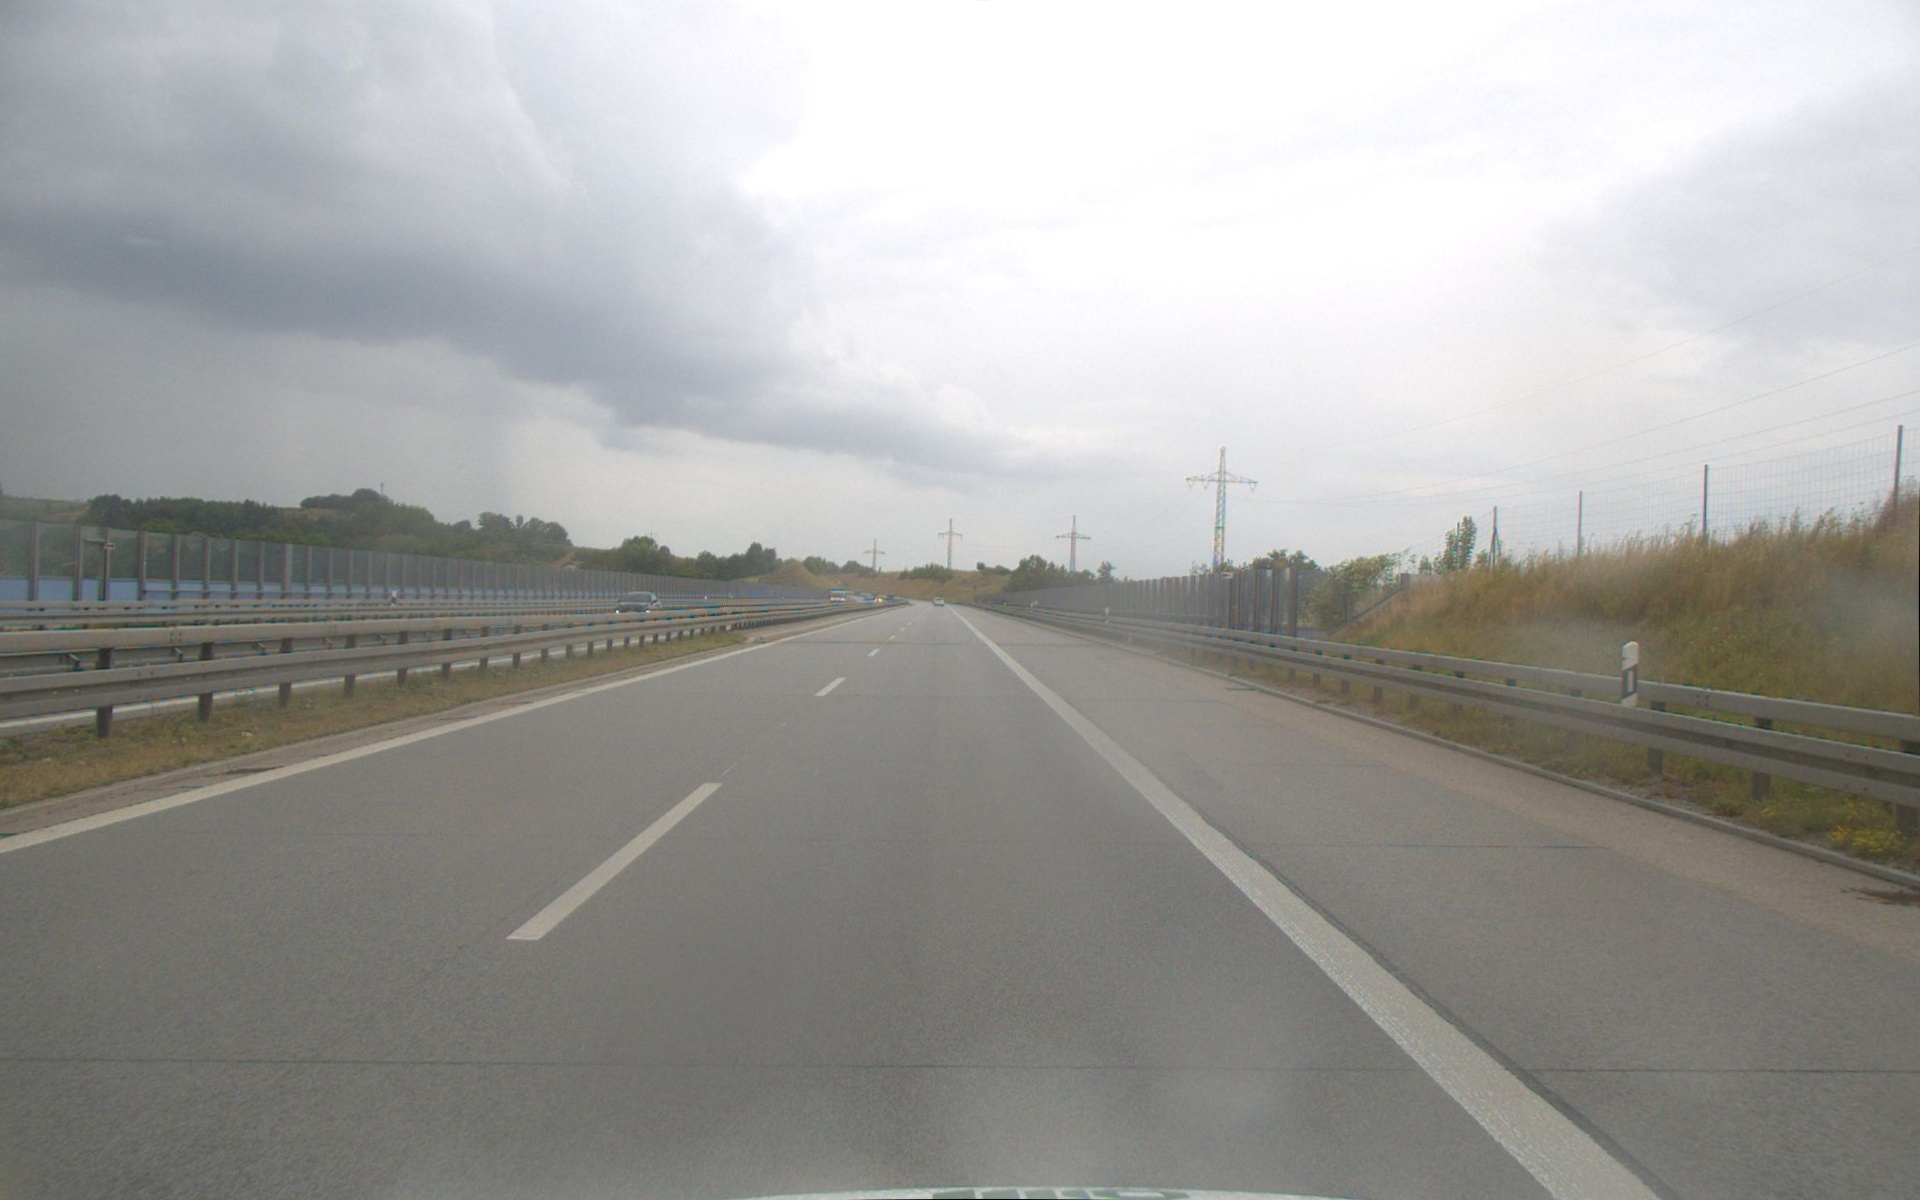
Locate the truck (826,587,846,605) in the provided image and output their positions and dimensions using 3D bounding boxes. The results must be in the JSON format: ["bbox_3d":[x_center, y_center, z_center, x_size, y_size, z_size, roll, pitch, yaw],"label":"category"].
[{"bbox_3d":[-17.114,-0.532,228.014,2.226,2.474,7.450,1,0,-1],"label":"truck"}]

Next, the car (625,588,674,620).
[{"bbox_3d":[-14.853,0.187,79.220,1.597,1.434,3.999,1,0,-1],"label":"car"}]
